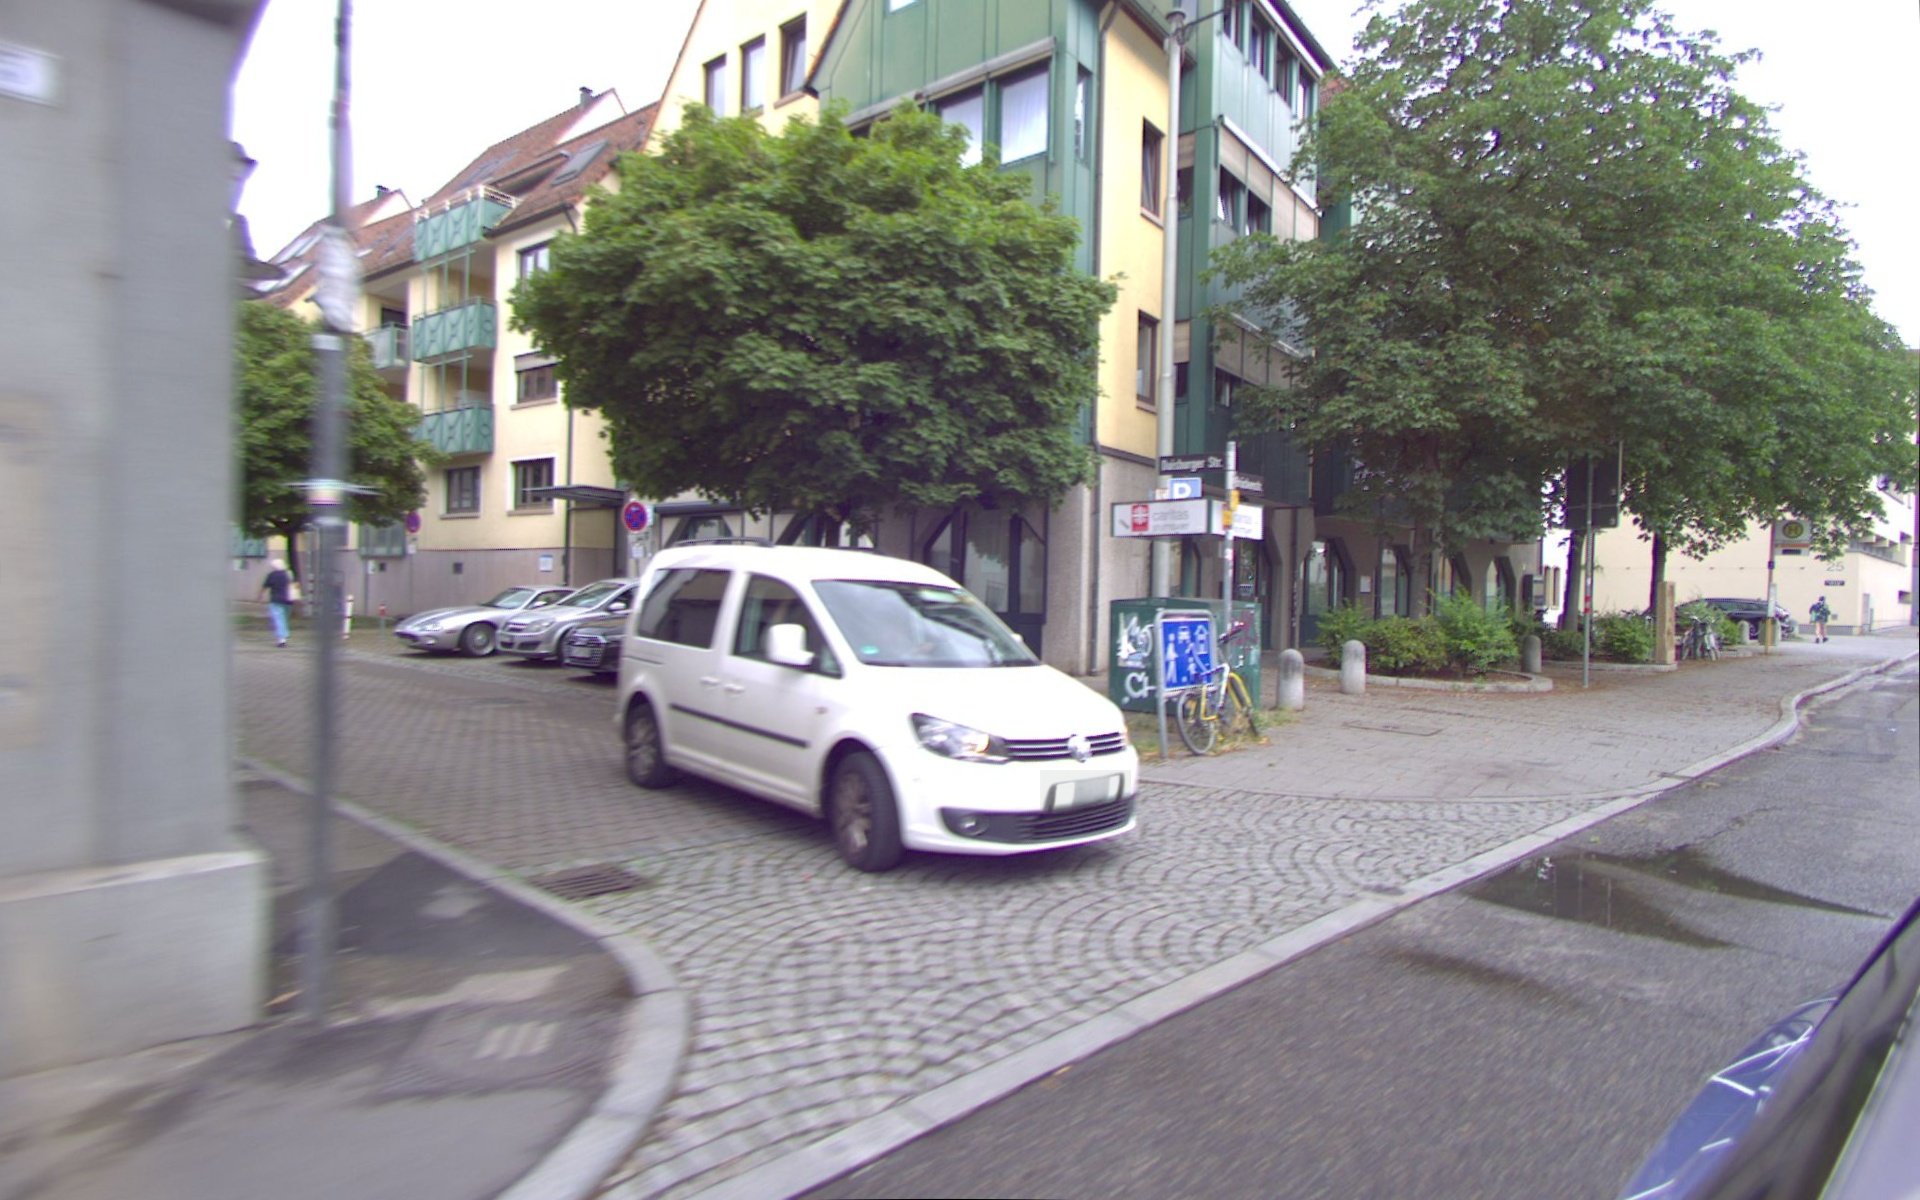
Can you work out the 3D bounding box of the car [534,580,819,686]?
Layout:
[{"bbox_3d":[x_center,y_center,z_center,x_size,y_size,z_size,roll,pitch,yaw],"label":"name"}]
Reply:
[{"bbox_3d":[-4.309,0.428,15.789,1.813,1.421,3.938,2,1,43],"label":"car"}]

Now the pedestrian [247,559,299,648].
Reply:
[{"bbox_3d":[-12.997,0.057,19.144,0.719,1.632,0.687,1,1,45],"label":"pedestrian"}]

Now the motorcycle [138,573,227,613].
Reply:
[{"bbox_3d":[-23.263,-0.210,30.322,0.767,1.145,2.016,2,1,42],"label":"motorcycle"}]

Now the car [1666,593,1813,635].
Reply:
[{"bbox_3d":[28.950,0.479,37.671,1.964,1.482,3.996,-1,1,-38],"label":"car"}]

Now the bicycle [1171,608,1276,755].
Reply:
[{"bbox_3d":[2.576,0.745,9.811,0.400,1.273,1.412,1,2,41],"label":"bicycle"}]

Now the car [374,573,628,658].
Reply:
[{"bbox_3d":[-8.609,0.229,19.189,1.993,1.421,3.938,2,1,43],"label":"car"}]

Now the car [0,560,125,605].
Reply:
[{"bbox_3d":[-38.089,-0.725,42.822,1.989,1.788,3.947,0,0,37],"label":"car"}]

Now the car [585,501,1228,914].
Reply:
[{"bbox_3d":[-0.682,0.415,6.763,1.966,1.809,4.460,-1,2,-41],"label":"car"}]

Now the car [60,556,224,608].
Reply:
[{"bbox_3d":[-27.366,-0.579,33.949,1.988,1.642,3.948,0,0,36],"label":"car"}]

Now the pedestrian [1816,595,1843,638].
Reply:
[{"bbox_3d":[30.352,0.569,35.319,0.758,1.462,0.599,0,1,-42],"label":"pedestrian"}]

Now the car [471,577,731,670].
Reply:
[{"bbox_3d":[-6.205,0.345,17.806,1.814,1.421,3.938,2,1,43],"label":"car"}]
